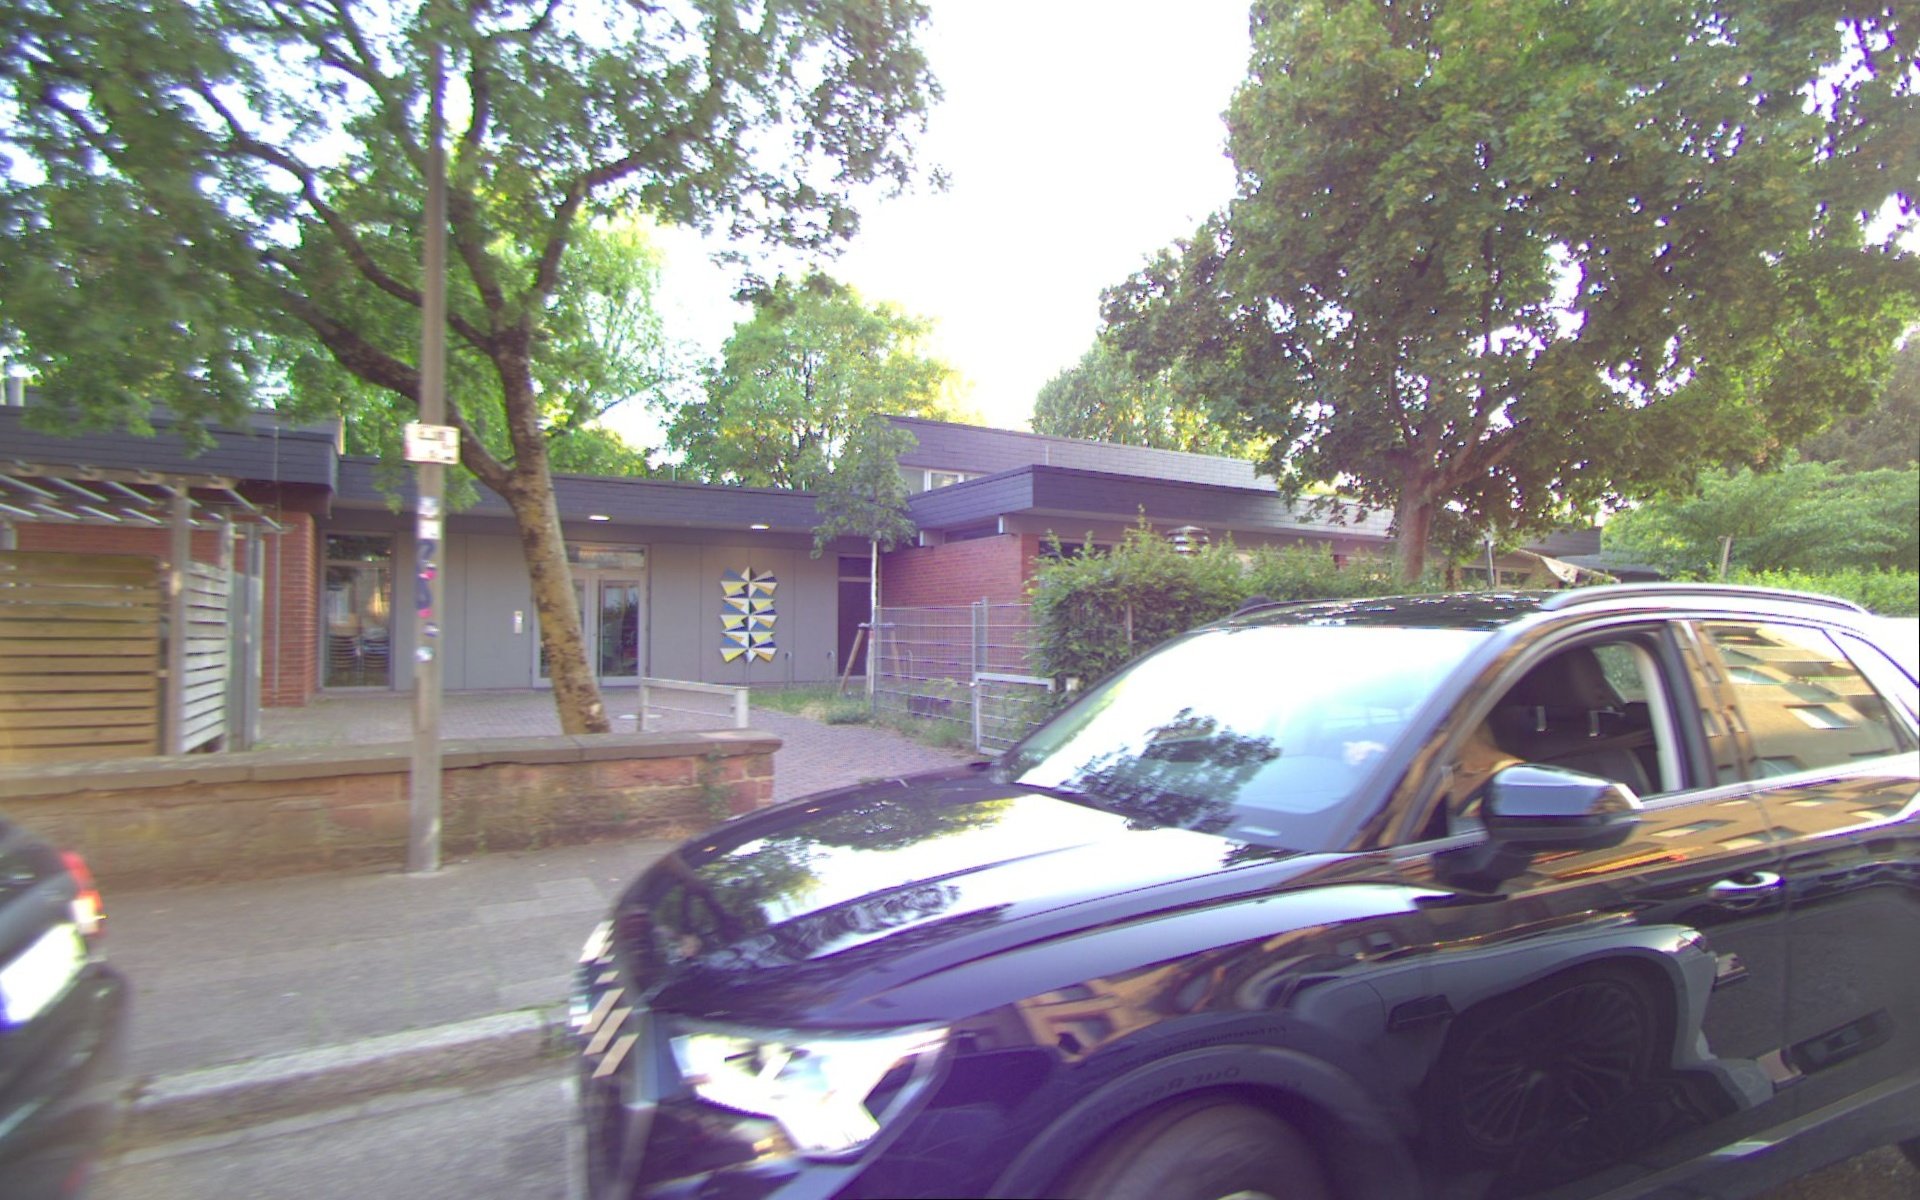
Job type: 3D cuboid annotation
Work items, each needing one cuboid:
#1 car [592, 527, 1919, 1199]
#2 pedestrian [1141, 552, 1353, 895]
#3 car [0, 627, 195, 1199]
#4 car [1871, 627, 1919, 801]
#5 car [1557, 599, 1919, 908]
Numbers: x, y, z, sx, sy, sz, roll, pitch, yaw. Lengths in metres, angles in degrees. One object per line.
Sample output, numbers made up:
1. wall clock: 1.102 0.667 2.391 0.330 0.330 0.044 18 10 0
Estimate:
1. car: 1.390 0.780 2.856 4.500 1.590 1.801 1 -2 -23
2. pedestrian: 1.705 0.677 6.046 0.778 1.855 0.933 1 -1 -31
3. car: -3.541 0.787 1.190 3.944 1.497 1.630 1 -3 -29
4. car: 10.694 1.043 9.687 4.056 1.575 1.845 1 -3 -33
5. car: 6.335 0.913 7.150 3.950 1.652 1.777 1 -4 -28
